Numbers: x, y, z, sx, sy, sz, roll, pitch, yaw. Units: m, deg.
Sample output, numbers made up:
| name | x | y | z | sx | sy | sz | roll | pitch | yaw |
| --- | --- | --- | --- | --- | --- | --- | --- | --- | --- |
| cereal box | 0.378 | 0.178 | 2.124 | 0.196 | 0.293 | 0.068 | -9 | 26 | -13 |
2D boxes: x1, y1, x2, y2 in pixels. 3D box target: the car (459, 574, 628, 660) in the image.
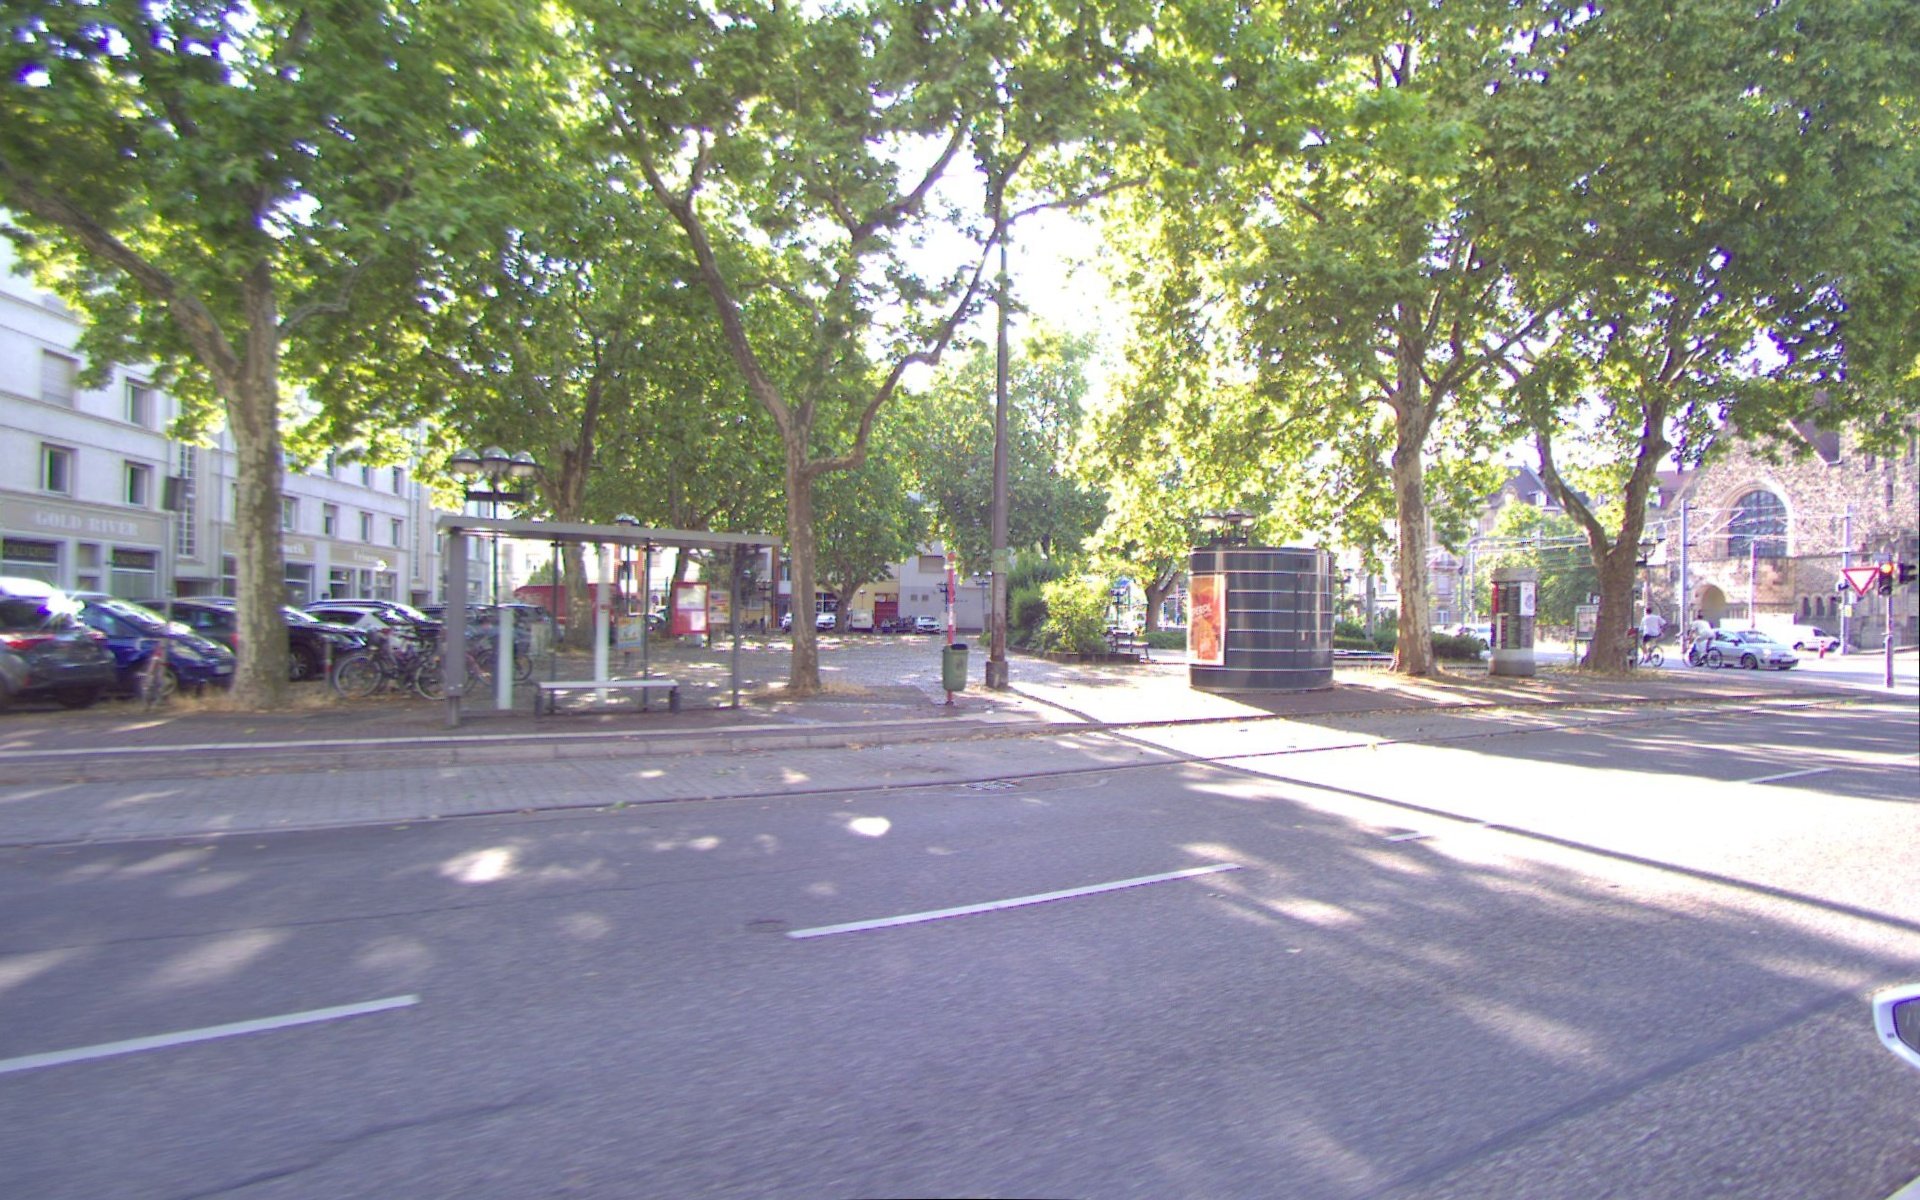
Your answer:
| name | x | y | z | sx | sy | sz | roll | pitch | yaw |
| --- | --- | --- | --- | --- | --- | --- | --- | --- | --- |
| car | -15.497 | 0.661 | 37.576 | 5.460 | 2.948 | 1.654 | 2 | -2 | -7 |

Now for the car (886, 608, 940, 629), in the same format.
| name | x | y | z | sx | sy | sz | roll | pitch | yaw |
| --- | --- | --- | --- | --- | --- | --- | --- | --- | --- |
| car | -3.827 | 1.485 | 81.672 | 3.937 | 1.482 | 1.992 | 2 | 1 | -18 |

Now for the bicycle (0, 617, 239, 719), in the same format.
| name | x | y | z | sx | sy | sz | roll | pitch | yaw |
| --- | --- | --- | --- | --- | --- | --- | --- | --- | --- |
| bicycle | -10.978 | 0.825 | 12.428 | 3.250 | 1.161 | 0.715 | 2 | 1 | -28 |

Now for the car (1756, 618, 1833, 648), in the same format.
| name | x | y | z | sx | sy | sz | roll | pitch | yaw |
| --- | --- | --- | --- | --- | --- | --- | --- | --- | --- |
| car | 58.966 | 2.313 | 71.007 | 3.925 | 1.862 | 1.865 | 2 | 1 | -6 |

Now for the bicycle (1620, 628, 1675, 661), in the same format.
| name | x | y | z | sx | sy | sz | roll | pitch | yaw |
| --- | --- | --- | --- | --- | --- | --- | --- | --- | --- |
| bicycle | 23.496 | 1.518 | 34.362 | 0.644 | 0.995 | 1.790 | 2 | 1 | 2 |

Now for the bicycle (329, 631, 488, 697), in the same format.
| name | x | y | z | sx | sy | sz | roll | pitch | yaw |
| --- | --- | --- | --- | --- | --- | --- | --- | --- | --- |
| bicycle | -8.933 | 1.040 | 16.353 | 2.183 | 1.006 | 0.549 | 2 | 1 | -20 |

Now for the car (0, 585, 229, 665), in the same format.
| name | x | y | z | sx | sy | sz | roll | pitch | yaw |
| --- | --- | --- | --- | --- | --- | --- | --- | --- | --- |
| car | -25.214 | 0.767 | 30.041 | 5.079 | 2.164 | 1.652 | 2 | -2 | -12 |

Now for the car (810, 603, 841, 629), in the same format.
| name | x | y | z | sx | sy | sz | roll | pitch | yaw |
| --- | --- | --- | --- | --- | --- | --- | --- | --- | --- |
| car | -10.084 | 1.199 | 75.506 | 1.962 | 1.714 | 3.997 | 2 | 1 | -3 |

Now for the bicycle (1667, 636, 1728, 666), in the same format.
| name | x | y | z | sx | sy | sz | roll | pitch | yaw |
| --- | --- | --- | --- | --- | --- | --- | --- | --- | --- |
| bicycle | 24.606 | 1.696 | 33.558 | 0.736 | 0.907 | 1.787 | 0 | 0 | 0 |

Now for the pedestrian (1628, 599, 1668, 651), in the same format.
| name | x | y | z | sx | sy | sz | roll | pitch | yaw |
| --- | --- | --- | --- | --- | --- | --- | --- | --- | --- |
| pedestrian | 23.434 | 0.840 | 34.240 | 0.616 | 1.731 | 0.994 | 2 | 1 | 2 |

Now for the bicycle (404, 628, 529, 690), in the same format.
| name | x | y | z | sx | sy | sz | roll | pitch | yaw |
| --- | --- | --- | --- | --- | --- | --- | --- | --- | --- |
| bicycle | -9.098 | 1.072 | 18.520 | 2.172 | 1.006 | 0.551 | 3 | 1 | 11 |

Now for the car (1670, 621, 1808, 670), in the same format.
| name | x | y | z | sx | sy | sz | roll | pitch | yaw |
| --- | --- | --- | --- | --- | --- | --- | --- | --- | --- |
| car | 29.773 | 1.703 | 38.549 | 1.819 | 1.576 | 3.994 | 2 | 1 | -8 |

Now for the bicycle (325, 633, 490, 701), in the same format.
| name | x | y | z | sx | sy | sz | roll | pitch | yaw |
| --- | --- | --- | --- | --- | --- | --- | --- | --- | --- |
| bicycle | -8.660 | 1.059 | 15.830 | 2.183 | 1.006 | 0.549 | 2 | 1 | -20 |

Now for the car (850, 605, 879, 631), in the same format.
| name | x | y | z | sx | sy | sz | roll | pitch | yaw |
| --- | --- | --- | --- | --- | --- | --- | --- | --- | --- |
| car | -7.128 | 1.323 | 75.395 | 1.962 | 1.714 | 3.997 | 2 | 1 | -3 |

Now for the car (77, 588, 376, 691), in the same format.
| name | x | y | z | sx | sy | sz | roll | pitch | yaw |
| --- | --- | --- | --- | --- | --- | --- | --- | --- | --- |
| car | -12.909 | 0.700 | 18.009 | 3.944 | 1.639 | 1.869 | 2 | 1 | -23 |

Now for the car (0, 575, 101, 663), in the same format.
| name | x | y | z | sx | sy | sz | roll | pitch | yaw |
| --- | --- | --- | --- | --- | --- | --- | --- | --- | --- |
| car | -25.453 | 0.419 | 25.646 | 5.079 | 2.150 | 1.652 | 2 | -2 | -12 |

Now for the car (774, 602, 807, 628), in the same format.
| name | x | y | z | sx | sy | sz | roll | pitch | yaw |
| --- | --- | --- | --- | --- | --- | --- | --- | --- | --- |
| car | -12.684 | 1.097 | 75.183 | 1.962 | 1.714 | 3.997 | 2 | 1 | -3 |

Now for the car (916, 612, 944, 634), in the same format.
| name | x | y | z | sx | sy | sz | roll | pitch | yaw |
| --- | --- | --- | --- | --- | --- | --- | --- | --- | --- |
| car | -2.282 | 1.718 | 76.037 | 1.962 | 1.482 | 3.997 | 2 | 1 | -3 |

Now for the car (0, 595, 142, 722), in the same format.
| name | x | y | z | sx | sy | sz | roll | pitch | yaw |
| --- | --- | --- | --- | --- | --- | --- | --- | --- | --- |
| car | -13.002 | 0.706 | 12.787 | 3.583 | 1.538 | 1.753 | 0 | 0 | -9 |

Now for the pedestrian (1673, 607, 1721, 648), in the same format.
| name | x | y | z | sx | sy | sz | roll | pitch | yaw |
| --- | --- | --- | --- | --- | --- | --- | --- | --- | --- |
| pedestrian | 24.561 | 0.898 | 33.481 | 0.776 | 1.295 | 1.052 | 2 | 1 | -1 |
